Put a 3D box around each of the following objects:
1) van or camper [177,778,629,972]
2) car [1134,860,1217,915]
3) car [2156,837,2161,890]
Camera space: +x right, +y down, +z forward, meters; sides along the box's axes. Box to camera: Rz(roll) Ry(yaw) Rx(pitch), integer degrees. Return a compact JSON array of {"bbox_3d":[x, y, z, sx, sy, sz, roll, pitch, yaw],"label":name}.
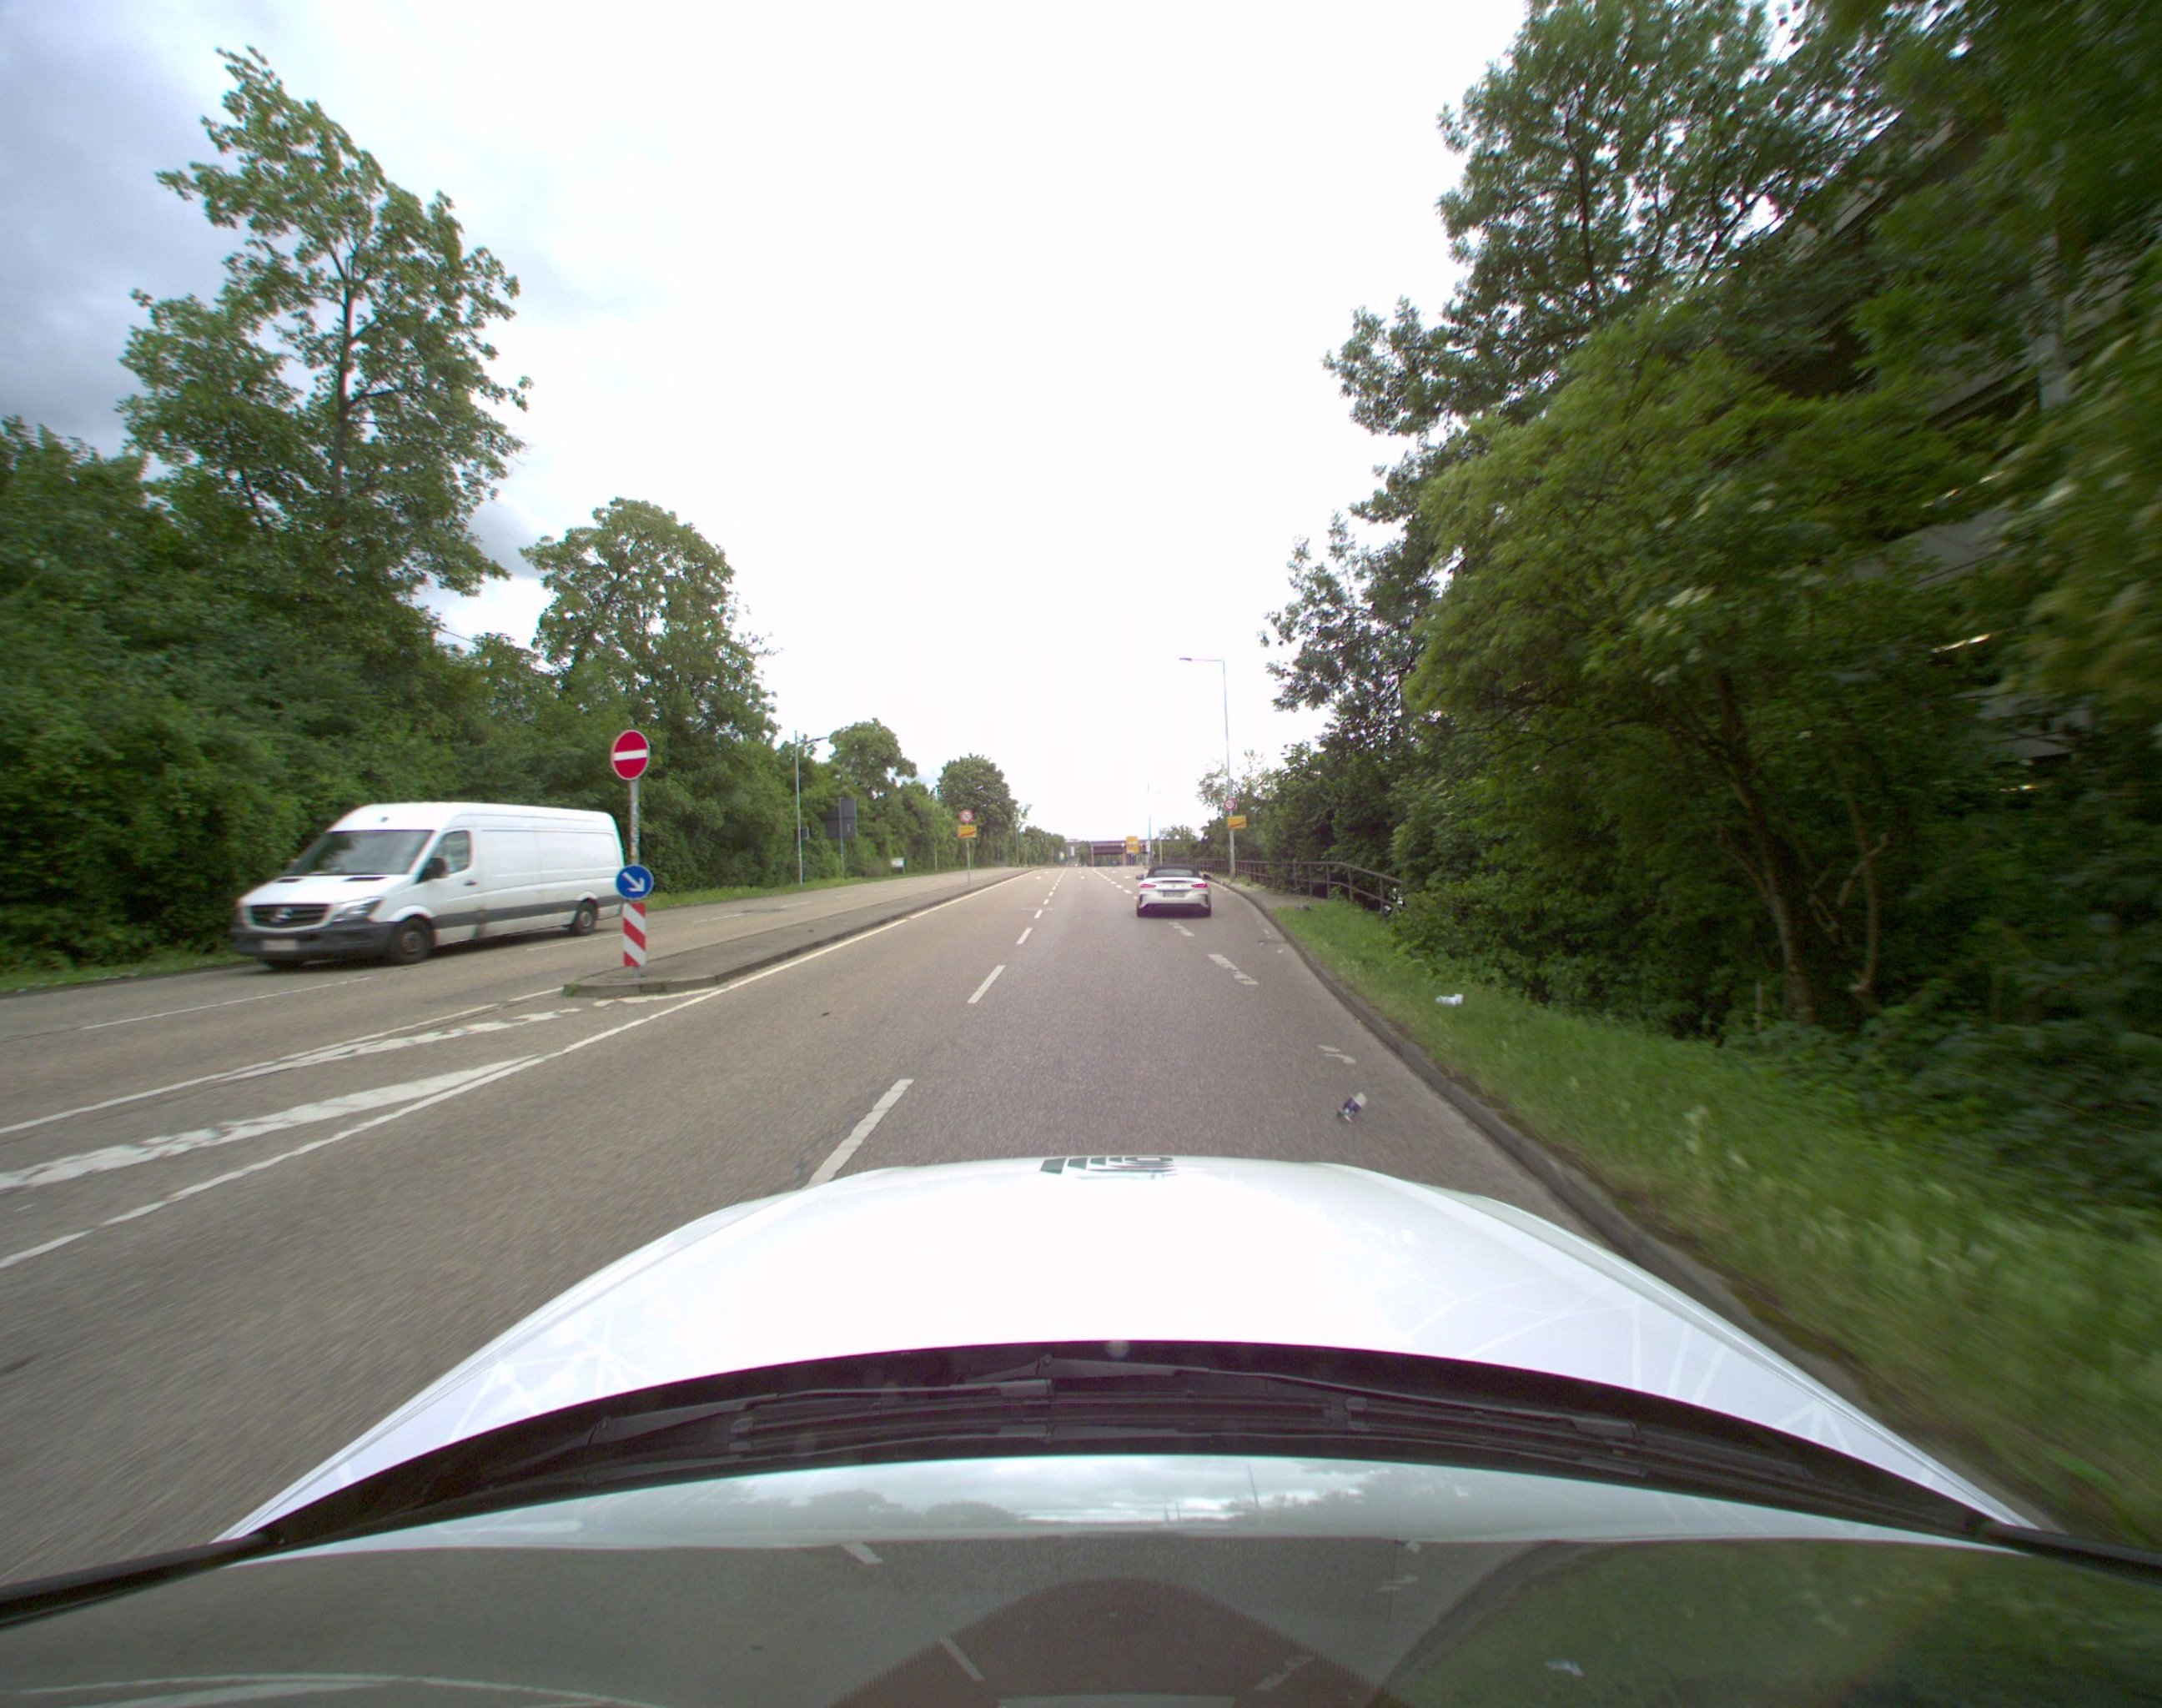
[{"bbox_3d":[-11.071,0.287,14.448,2.276,2.555,6.856,-2,0,-1],"label":"van or camper"},{"bbox_3d":[2.413,0.829,21.598,1.868,1.309,3.874,1,-1,2],"label":"car"},{"bbox_3d":[27.591,0.220,18.464,3.976,1.480,1.874,-2,-4,-2],"label":"car"}]
